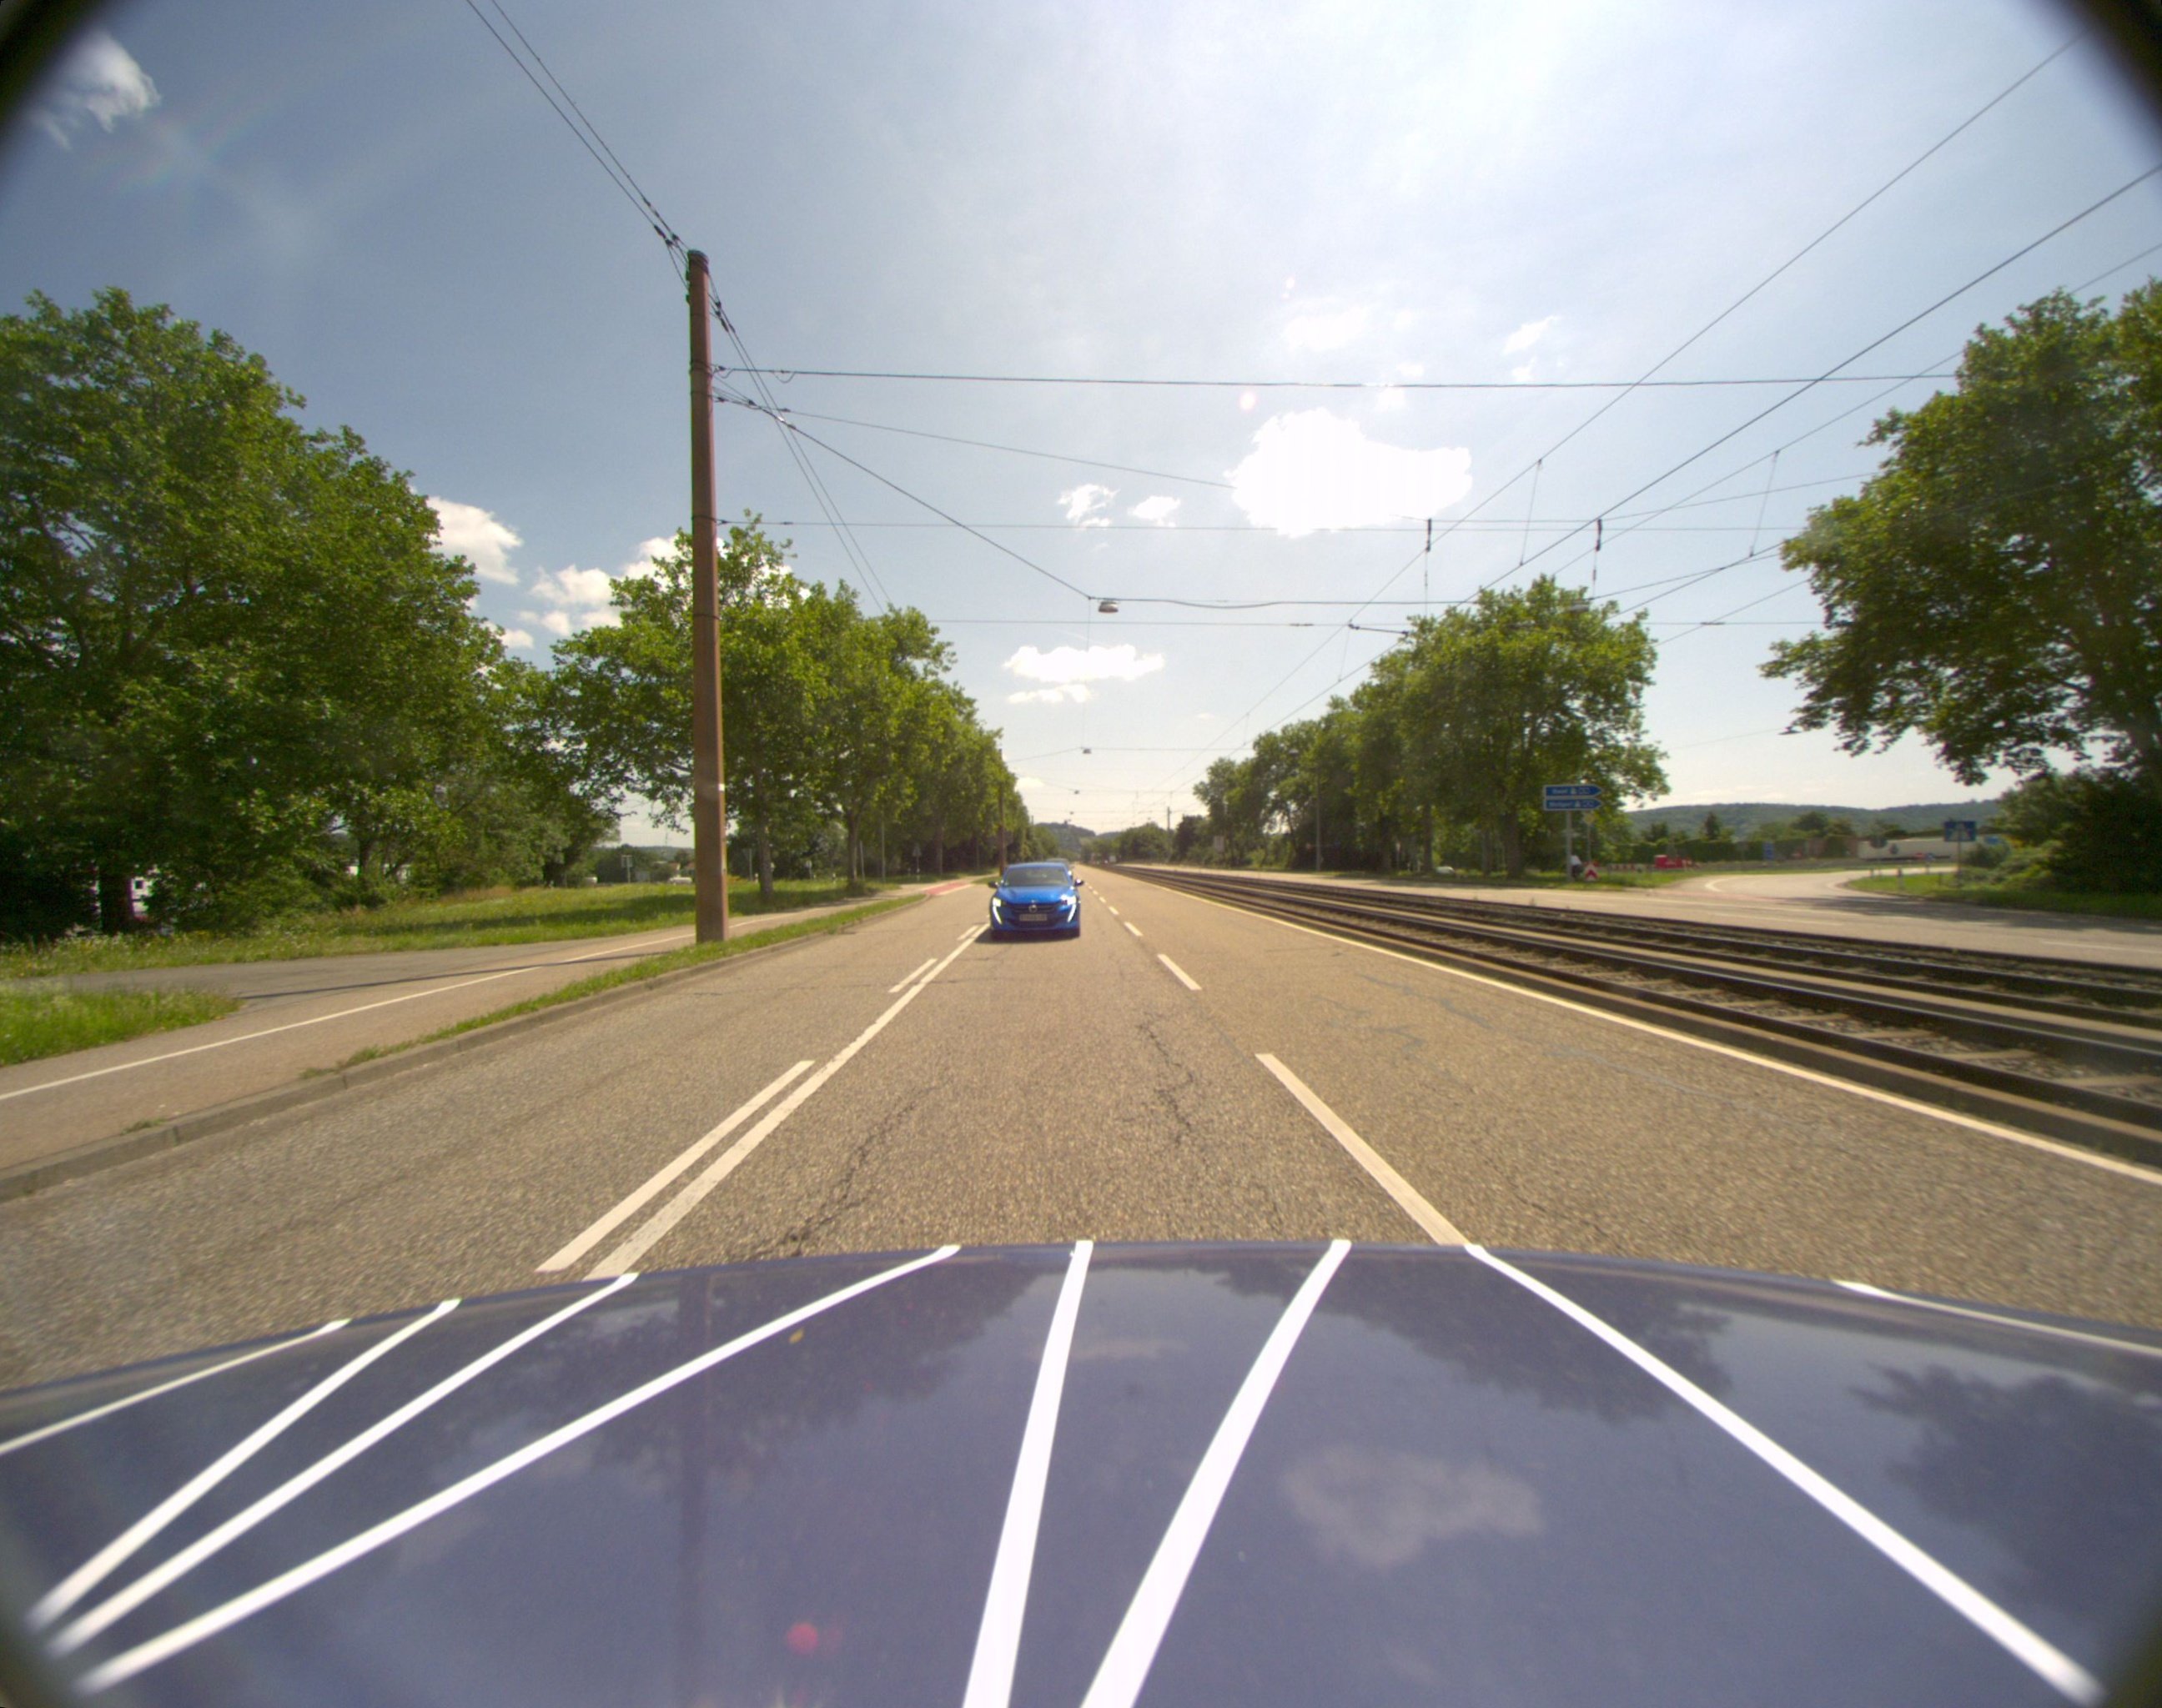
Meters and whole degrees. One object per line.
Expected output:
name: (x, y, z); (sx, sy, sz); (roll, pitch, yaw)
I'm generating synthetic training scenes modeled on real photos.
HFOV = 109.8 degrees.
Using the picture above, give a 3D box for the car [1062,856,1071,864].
car: (-2.747, 1.175, 145.158); (1.771, 1.422, 3.999); (-1, 0, -1)

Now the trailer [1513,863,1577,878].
trailer: (105.996, 3.821, 173.848); (12.347, 3.420, 3.344); (-1, 0, 29)

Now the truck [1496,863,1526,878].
truck: (100.164, 3.848, 177.067); (6.125, 3.362, 3.336); (-1, 0, 29)

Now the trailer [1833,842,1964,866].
trailer: (137.753, 0.090, 128.438); (14.784, 3.407, 3.142); (-3, -1, 29)

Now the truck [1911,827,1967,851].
truck: (156.643, -2.672, 138.830); (5.998, 4.131, 3.141); (-2, -1, 27)

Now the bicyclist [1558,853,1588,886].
bicyclist: (23.273, 0.713, 35.956); (0.623, 1.509, 1.160); (-1, 0, -2)

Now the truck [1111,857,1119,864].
truck: (11.772, 2.308, 263.859); (2.333, 2.566, 6.620); (-1, 0, -3)

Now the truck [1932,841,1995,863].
truck: (144.628, -0.272, 124.592); (5.997, 3.407, 3.142); (-2, -1, 29)

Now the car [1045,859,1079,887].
car: (-1.071, 1.029, 43.041); (1.771, 1.422, 3.999); (-2, 0, -1)

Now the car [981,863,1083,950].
car: (-0.913, 0.956, 15.814); (1.771, 1.463, 4.466); (-2, 0, -1)

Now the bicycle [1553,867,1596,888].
bicycle: (23.294, 1.096, 35.928); (0.623, 0.934, 2.091); (-1, 0, -2)

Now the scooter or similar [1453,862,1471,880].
scooter or similar: (24.446, 1.090, 48.713); (0.462, 1.144, 1.235); (-2, 0, -3)
